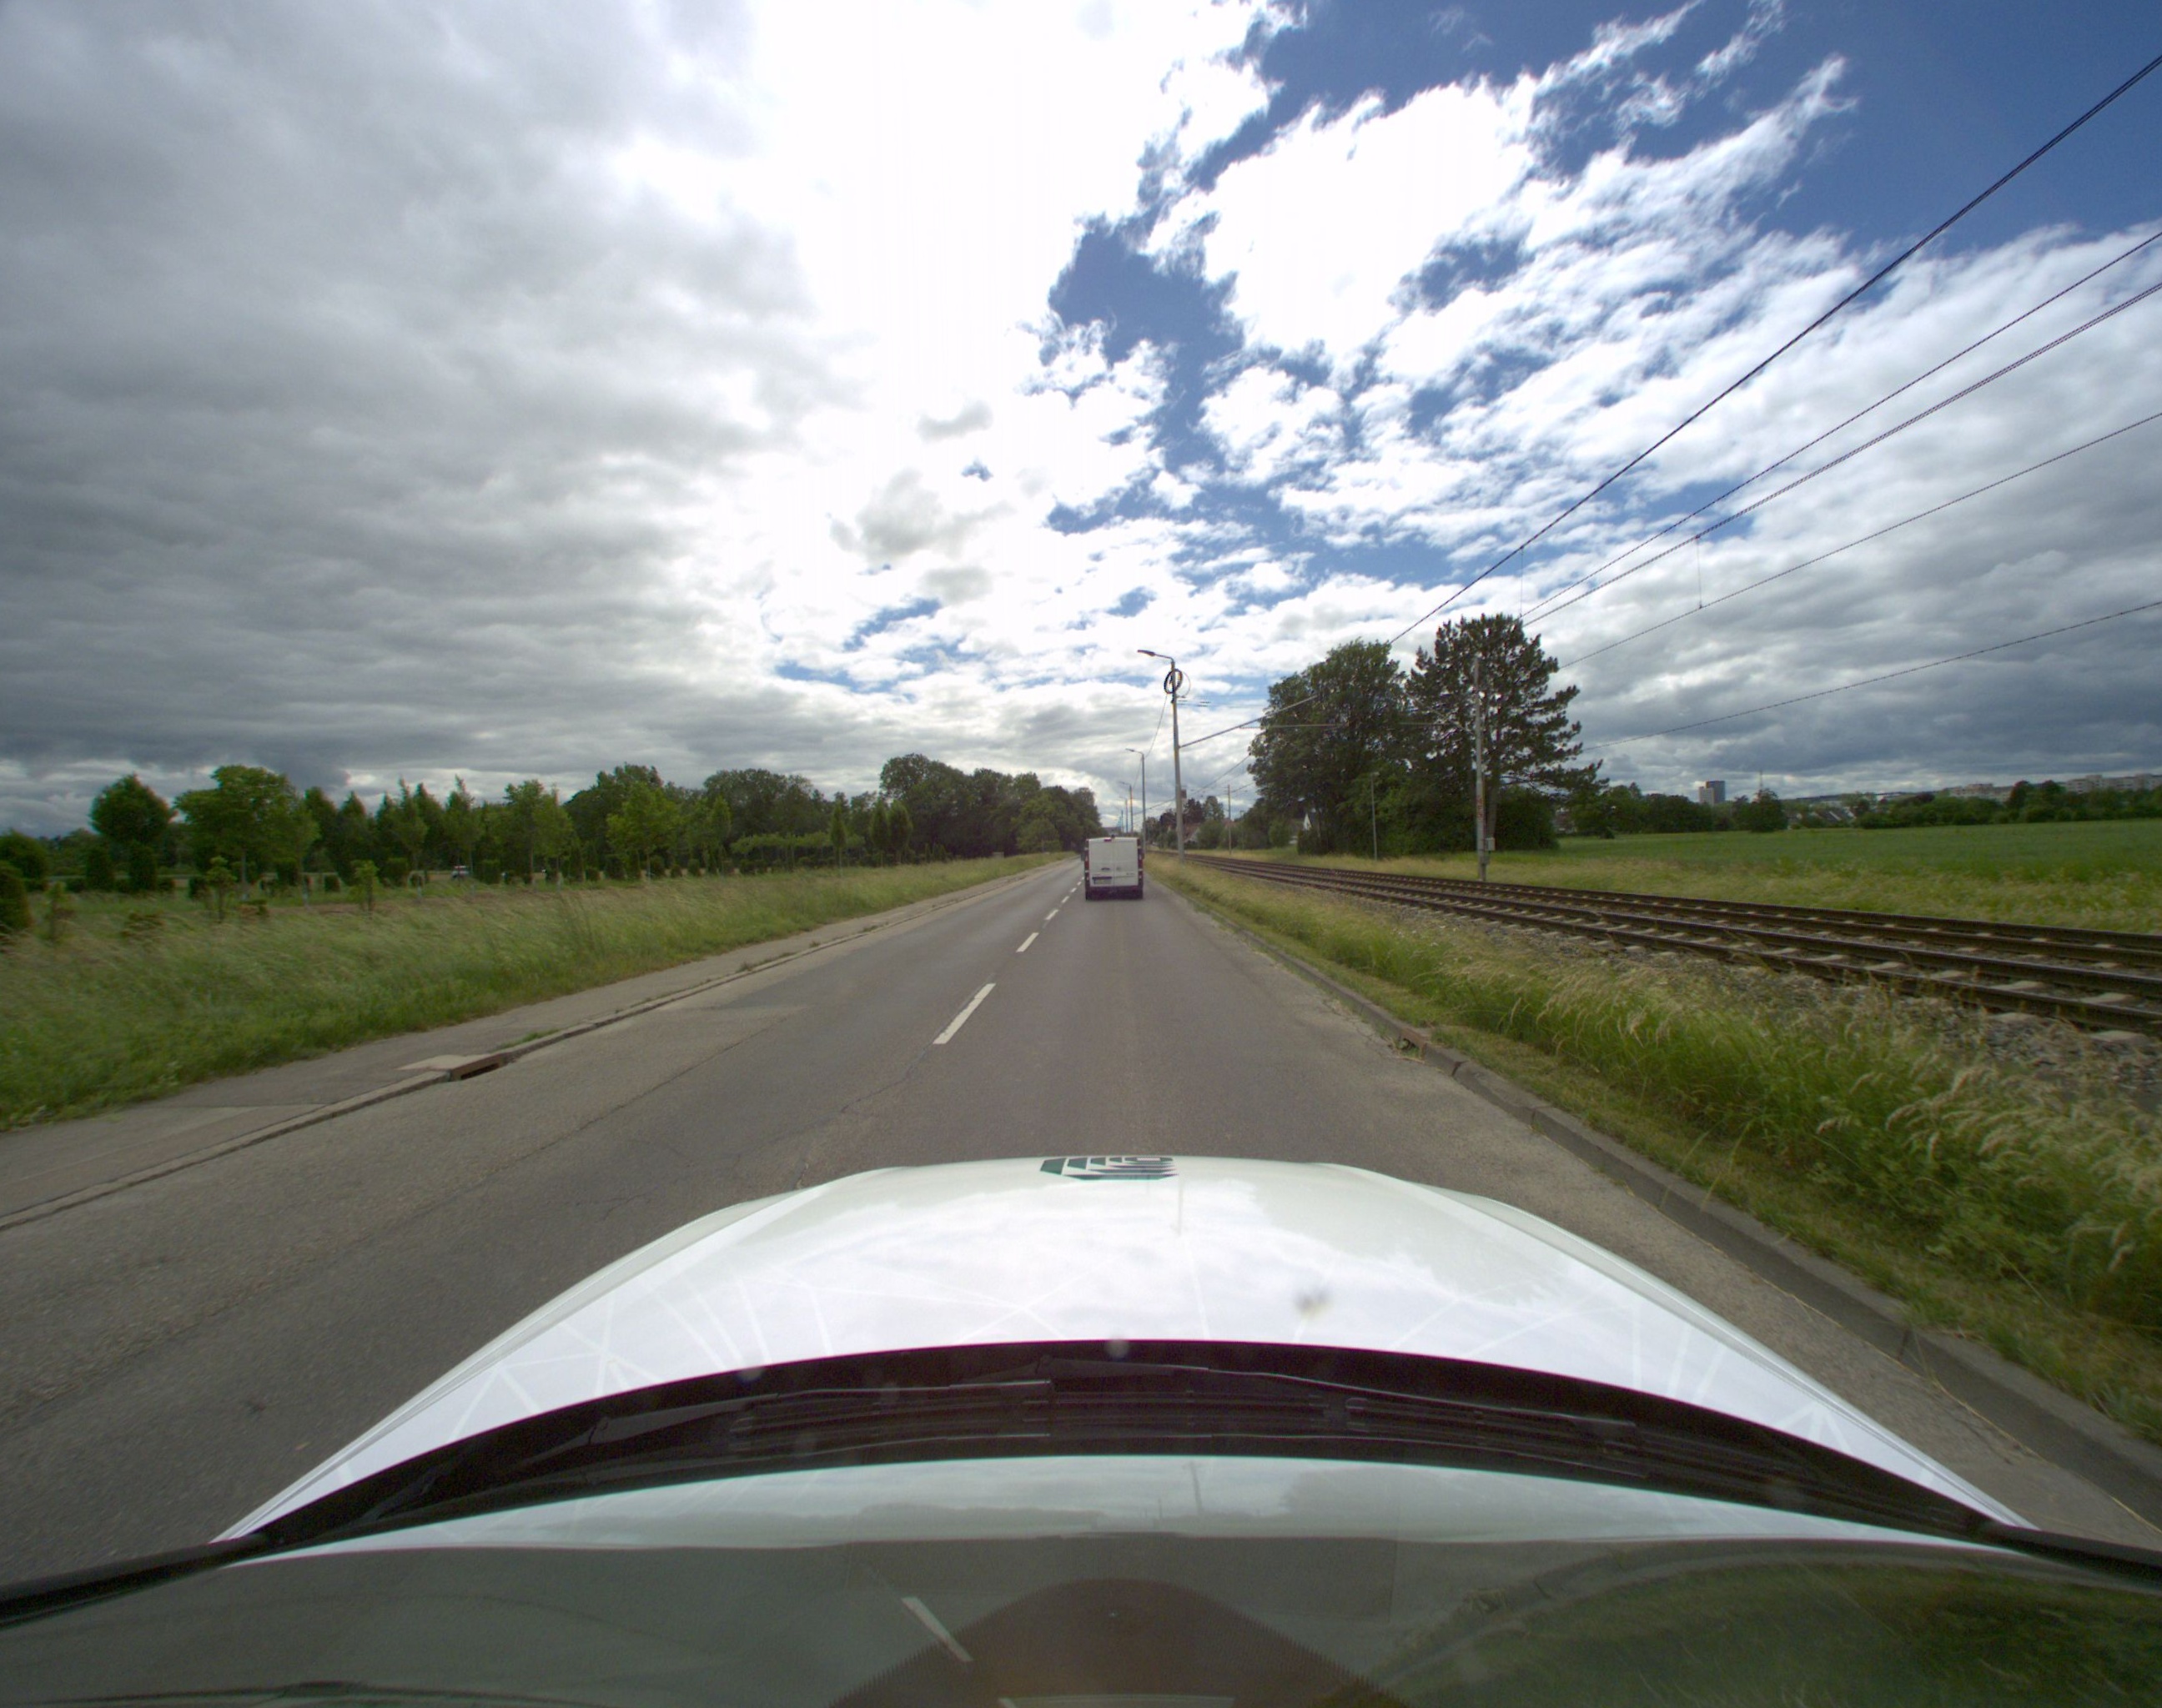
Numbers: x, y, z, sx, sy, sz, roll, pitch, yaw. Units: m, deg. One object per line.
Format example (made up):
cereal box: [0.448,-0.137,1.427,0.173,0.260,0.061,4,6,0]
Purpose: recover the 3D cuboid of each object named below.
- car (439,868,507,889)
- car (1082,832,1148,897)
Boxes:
car: [-49.891,1.976,66.927,3.995,1.453,1.965,-3,0,-16]
car: [1.066,0.317,26.951,1.986,1.957,4.001,-1,0,1]
